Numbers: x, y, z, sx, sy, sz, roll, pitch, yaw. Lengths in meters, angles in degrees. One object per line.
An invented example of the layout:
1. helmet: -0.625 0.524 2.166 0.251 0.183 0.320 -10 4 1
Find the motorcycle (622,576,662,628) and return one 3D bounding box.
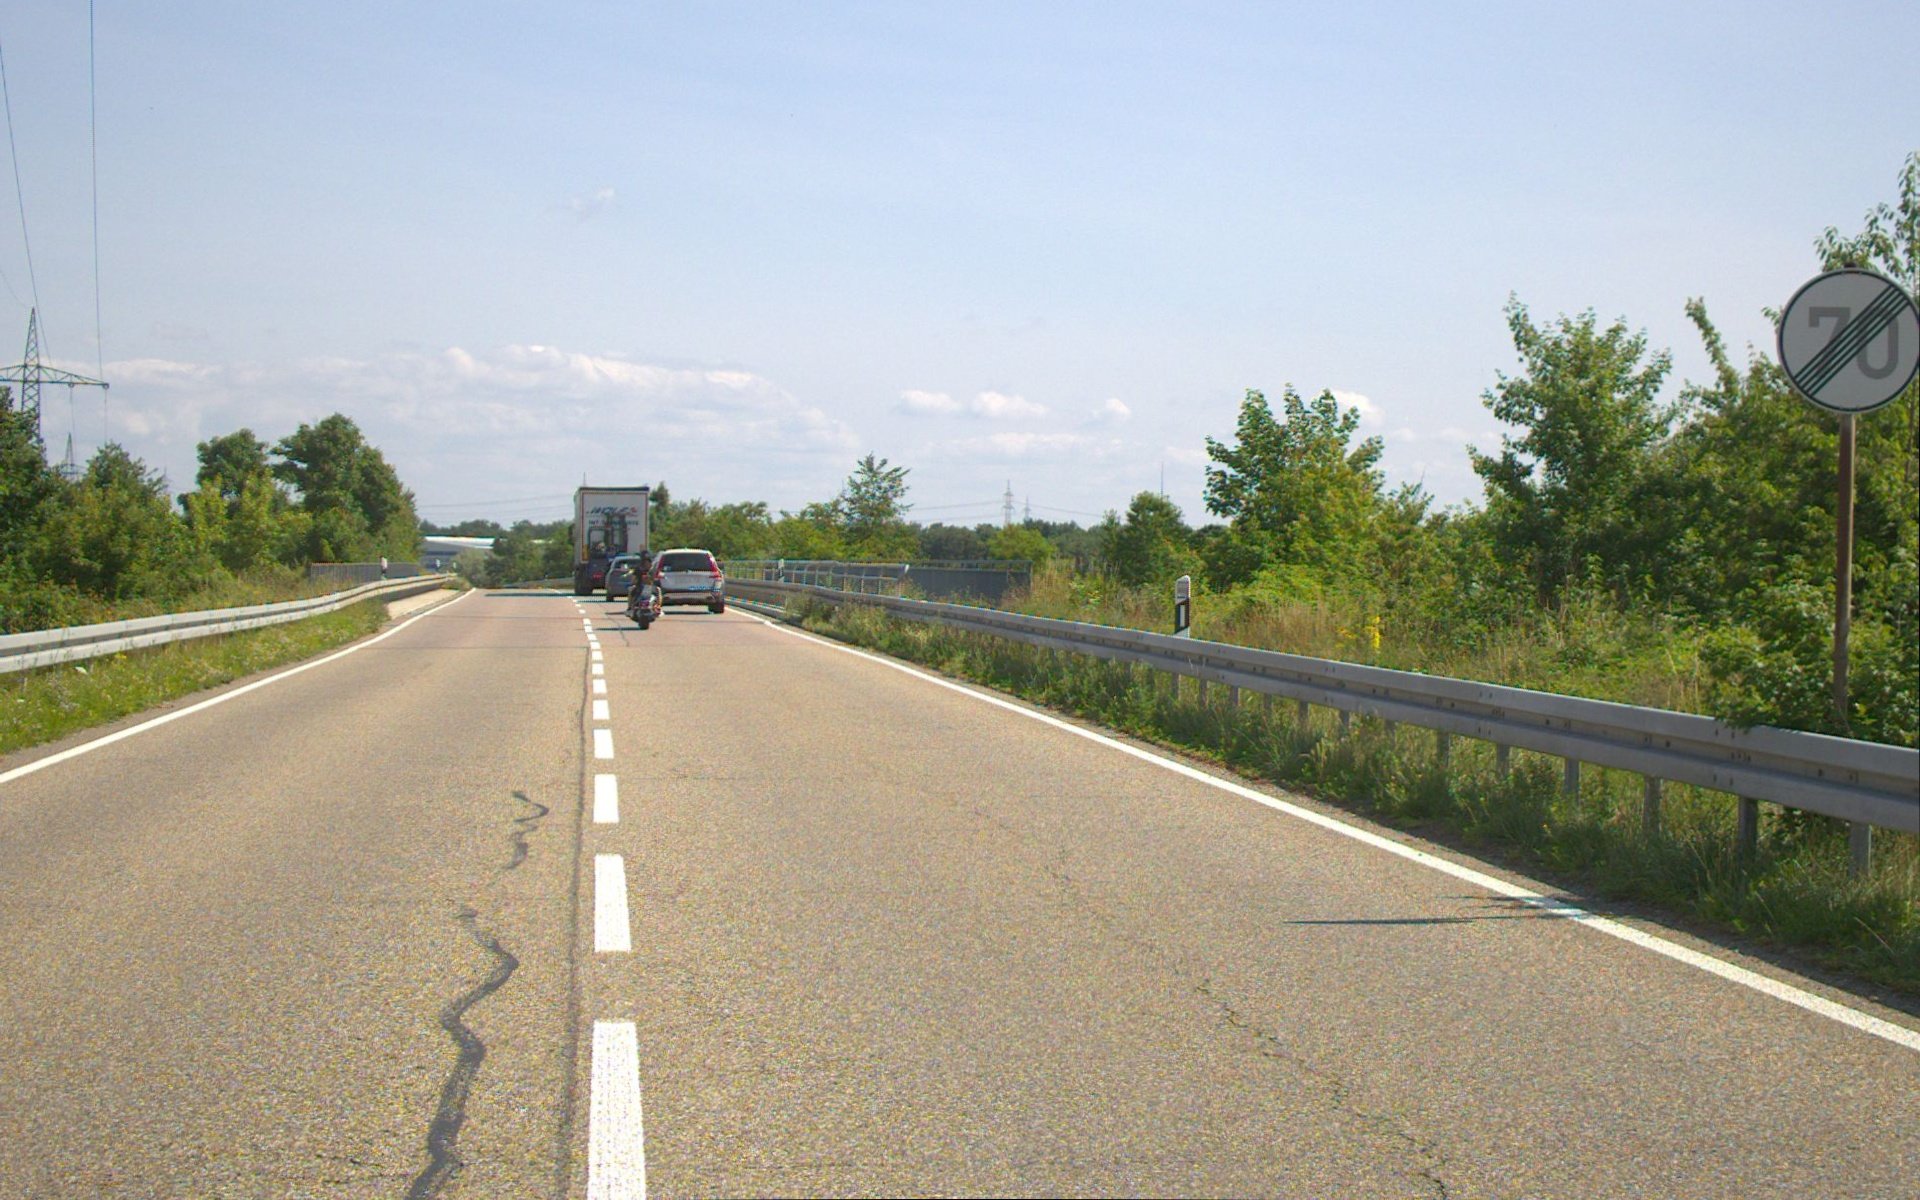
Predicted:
1. motorcycle: -6.273 0.037 67.897 0.780 0.972 2.362 0 1 -5

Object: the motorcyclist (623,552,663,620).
1. motorcyclist: -6.262 -0.287 67.912 0.780 1.321 0.813 0 1 -5

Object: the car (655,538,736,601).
1. car: -6.412 -0.761 83.071 1.825 1.446 4.001 0 1 -6

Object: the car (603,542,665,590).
1. car: -10.168 -1.069 107.286 1.865 1.415 4.001 1 1 -6

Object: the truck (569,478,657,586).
1. truck: -13.310 -2.569 131.673 3.241 3.965 9.446 0 1 -6
